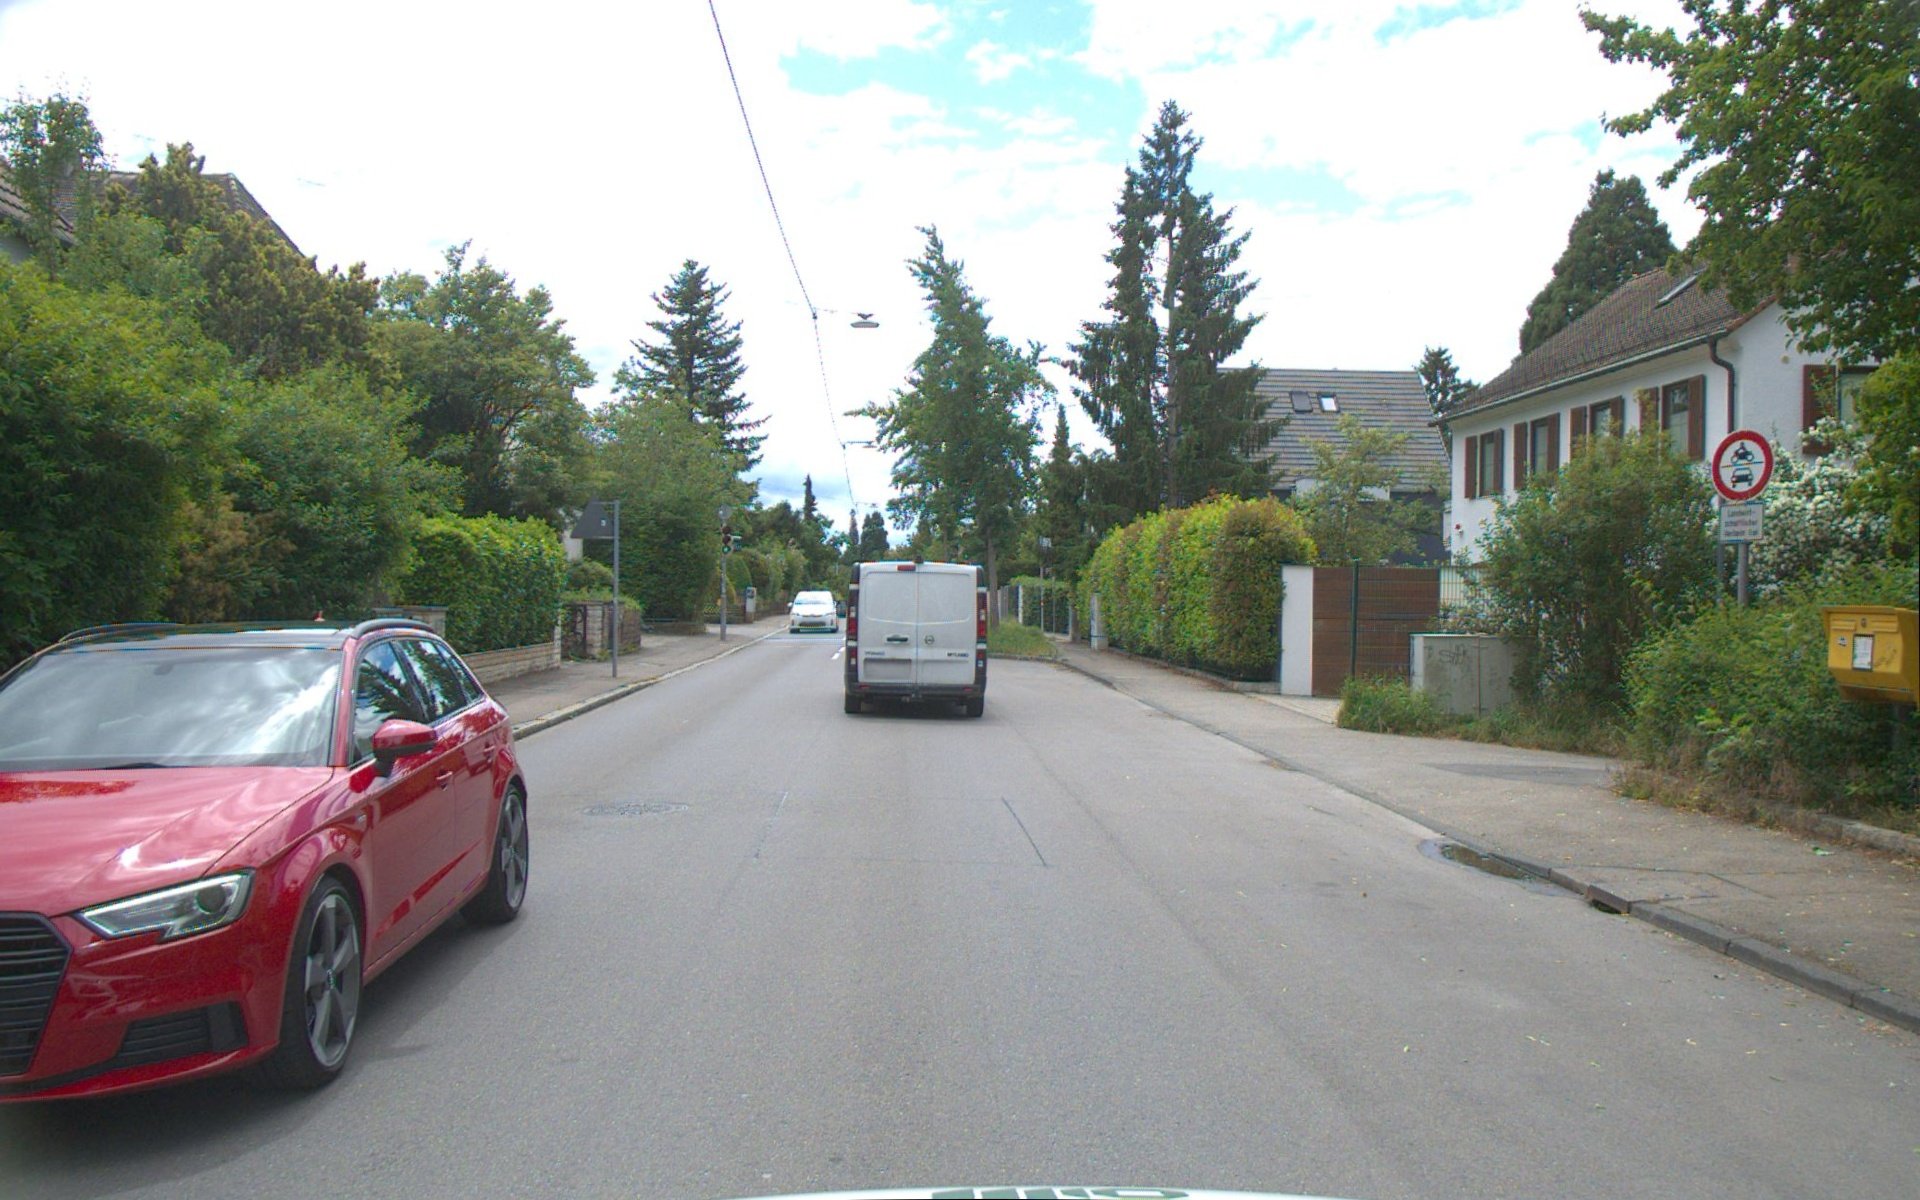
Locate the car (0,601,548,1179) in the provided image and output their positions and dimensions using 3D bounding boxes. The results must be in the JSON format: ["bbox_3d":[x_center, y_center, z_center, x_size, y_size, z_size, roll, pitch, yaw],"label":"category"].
[{"bbox_3d":[-2.863,0.772,6.264,1.769,1.456,4.115,-2,0,-4],"label":"car"}]

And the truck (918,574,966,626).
[{"bbox_3d":[-1.005,0.021,86.405,2.144,2.515,7.426,2,0,-3],"label":"truck"}]

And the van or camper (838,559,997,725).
[{"bbox_3d":[-0.649,0.576,22.850,1.901,1.988,4.761,2,-2,-3],"label":"van or camper"}]

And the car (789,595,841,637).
[{"bbox_3d":[-5.335,0.583,61.313,1.818,1.476,4.278,-1,0,-4],"label":"car"}]
